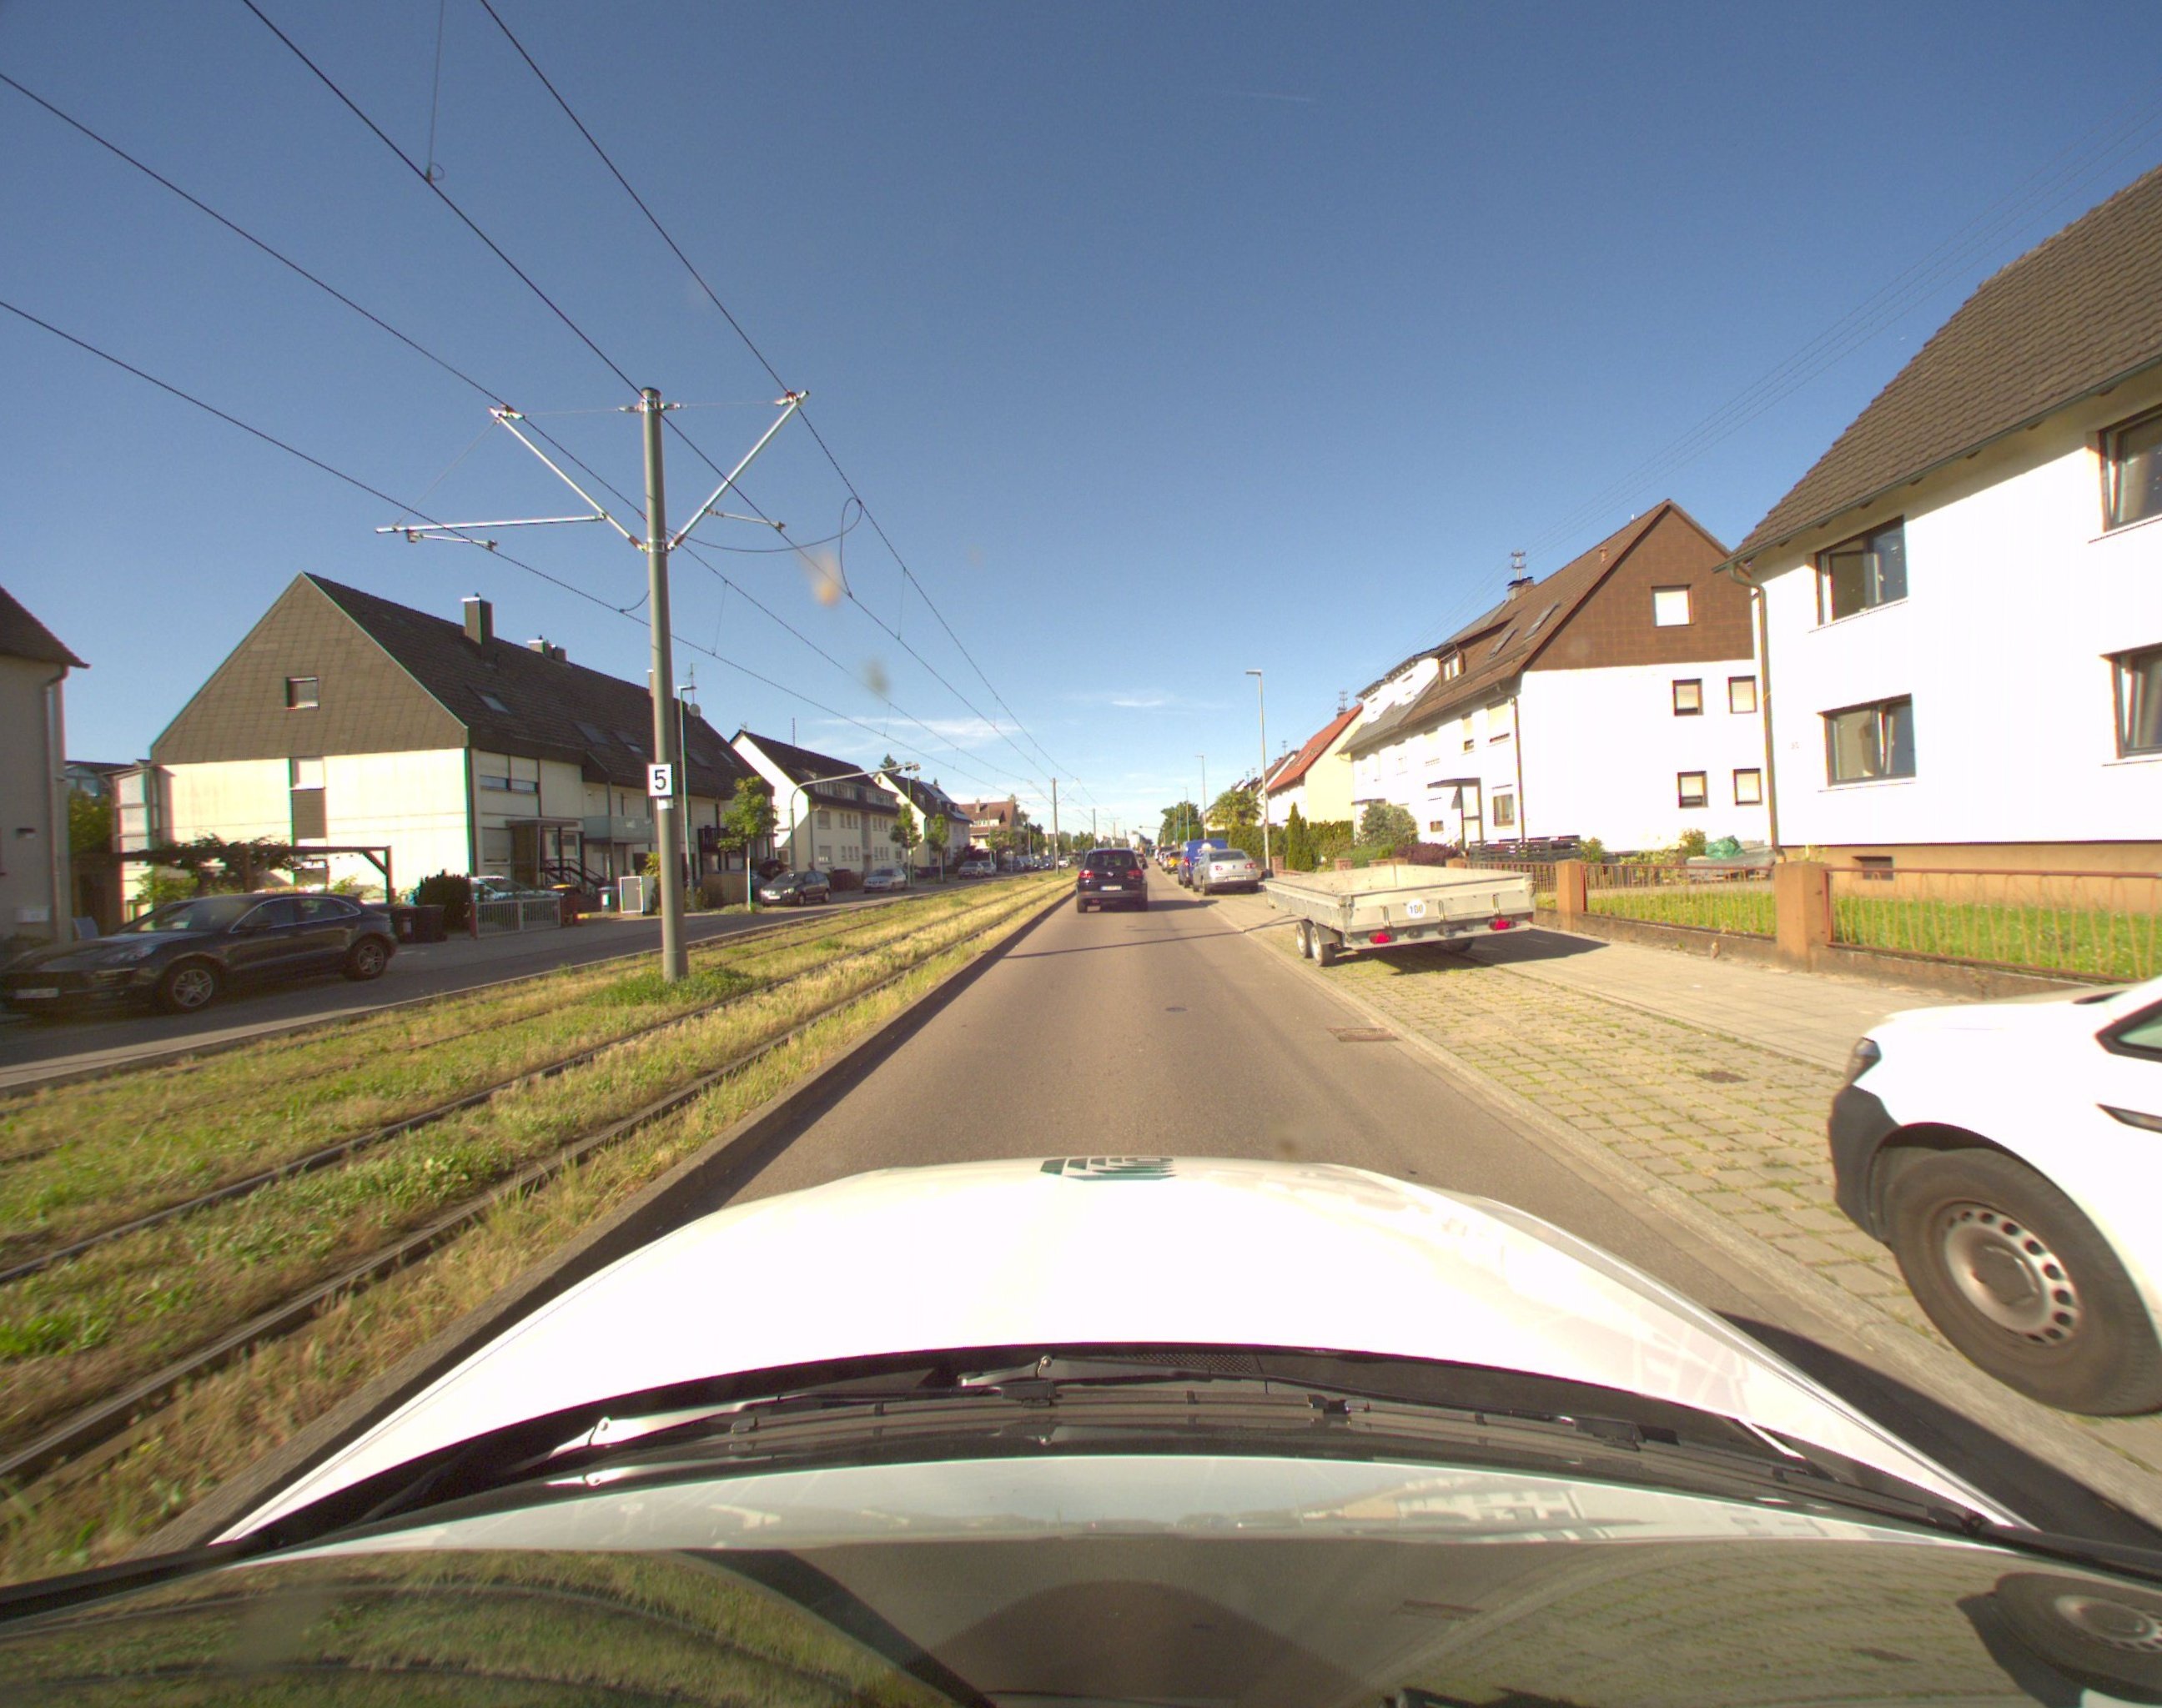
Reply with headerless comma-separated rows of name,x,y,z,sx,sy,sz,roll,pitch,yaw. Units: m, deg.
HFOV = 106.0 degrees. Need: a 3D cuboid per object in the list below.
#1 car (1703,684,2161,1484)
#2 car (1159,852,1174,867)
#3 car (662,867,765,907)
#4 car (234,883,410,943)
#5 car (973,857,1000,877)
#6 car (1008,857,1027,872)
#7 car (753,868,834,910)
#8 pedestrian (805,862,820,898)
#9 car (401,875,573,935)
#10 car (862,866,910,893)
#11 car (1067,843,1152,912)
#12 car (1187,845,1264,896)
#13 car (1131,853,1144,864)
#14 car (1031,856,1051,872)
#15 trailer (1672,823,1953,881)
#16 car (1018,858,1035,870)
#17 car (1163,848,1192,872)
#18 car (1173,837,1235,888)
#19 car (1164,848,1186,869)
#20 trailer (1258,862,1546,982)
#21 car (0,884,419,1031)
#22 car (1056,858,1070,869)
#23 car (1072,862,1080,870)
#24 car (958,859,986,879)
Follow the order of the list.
car,3.157,0.481,0.777,1.683,1.776,4.659,-3,0,3
car,8.976,0.521,85.767,1.435,1.477,3.868,-3,0,4
car,-16.868,1.487,37.509,3.895,1.568,1.732,-3,0,-5
car,-24.898,1.907,26.791,4.138,1.654,1.860,-3,0,5
car,-8.799,1.193,76.046,1.796,1.631,4.003,-3,0,3
car,-7.150,1.191,92.040,1.653,1.581,4.003,-3,-2,3
car,-11.927,1.417,34.054,1.610,1.453,3.725,-3,0,7
pedestrian,-13.317,1.304,40.413,0.466,1.746,0.536,-3,0,2
car,-19.194,1.612,26.450,4.154,1.616,1.758,-3,0,-2
car,-11.145,1.440,46.792,1.612,1.409,3.720,-3,-2,3
car,0.681,0.608,22.256,1.809,1.671,4.250,-1,-1,-5
car,4.797,0.523,27.655,1.780,1.441,4.460,-4,0,1
car,7.667,0.665,110.663,1.566,1.391,3.616,-3,0,2
car,-4.615,1.166,95.026,1.866,1.655,4.002,-3,-2,3
trailer,16.725,-0.047,18.808,4.782,1.028,1.646,-3,0,5
car,-6.534,1.195,97.945,1.509,1.361,3.592,-3,0,2
car,6.641,0.421,56.172,1.638,1.534,3.867,-3,0,3
car,5.046,0.338,34.028,1.985,1.862,4.921,-3,0,3
car,7.264,0.342,63.349,1.445,1.551,3.834,-3,0,4
trailer,3.910,0.751,10.909,2.196,1.093,4.373,-4,0,2
car,-13.159,1.400,12.635,1.797,1.597,4.810,-3,0,-1
car,-2.412,1.271,109.866,1.459,1.454,3.289,-3,-1,3
car,-1.130,2.555,173.739,1.459,1.454,3.219,-3,-1,3
car,-9.338,1.269,69.898,1.652,1.496,3.582,-3,0,3
